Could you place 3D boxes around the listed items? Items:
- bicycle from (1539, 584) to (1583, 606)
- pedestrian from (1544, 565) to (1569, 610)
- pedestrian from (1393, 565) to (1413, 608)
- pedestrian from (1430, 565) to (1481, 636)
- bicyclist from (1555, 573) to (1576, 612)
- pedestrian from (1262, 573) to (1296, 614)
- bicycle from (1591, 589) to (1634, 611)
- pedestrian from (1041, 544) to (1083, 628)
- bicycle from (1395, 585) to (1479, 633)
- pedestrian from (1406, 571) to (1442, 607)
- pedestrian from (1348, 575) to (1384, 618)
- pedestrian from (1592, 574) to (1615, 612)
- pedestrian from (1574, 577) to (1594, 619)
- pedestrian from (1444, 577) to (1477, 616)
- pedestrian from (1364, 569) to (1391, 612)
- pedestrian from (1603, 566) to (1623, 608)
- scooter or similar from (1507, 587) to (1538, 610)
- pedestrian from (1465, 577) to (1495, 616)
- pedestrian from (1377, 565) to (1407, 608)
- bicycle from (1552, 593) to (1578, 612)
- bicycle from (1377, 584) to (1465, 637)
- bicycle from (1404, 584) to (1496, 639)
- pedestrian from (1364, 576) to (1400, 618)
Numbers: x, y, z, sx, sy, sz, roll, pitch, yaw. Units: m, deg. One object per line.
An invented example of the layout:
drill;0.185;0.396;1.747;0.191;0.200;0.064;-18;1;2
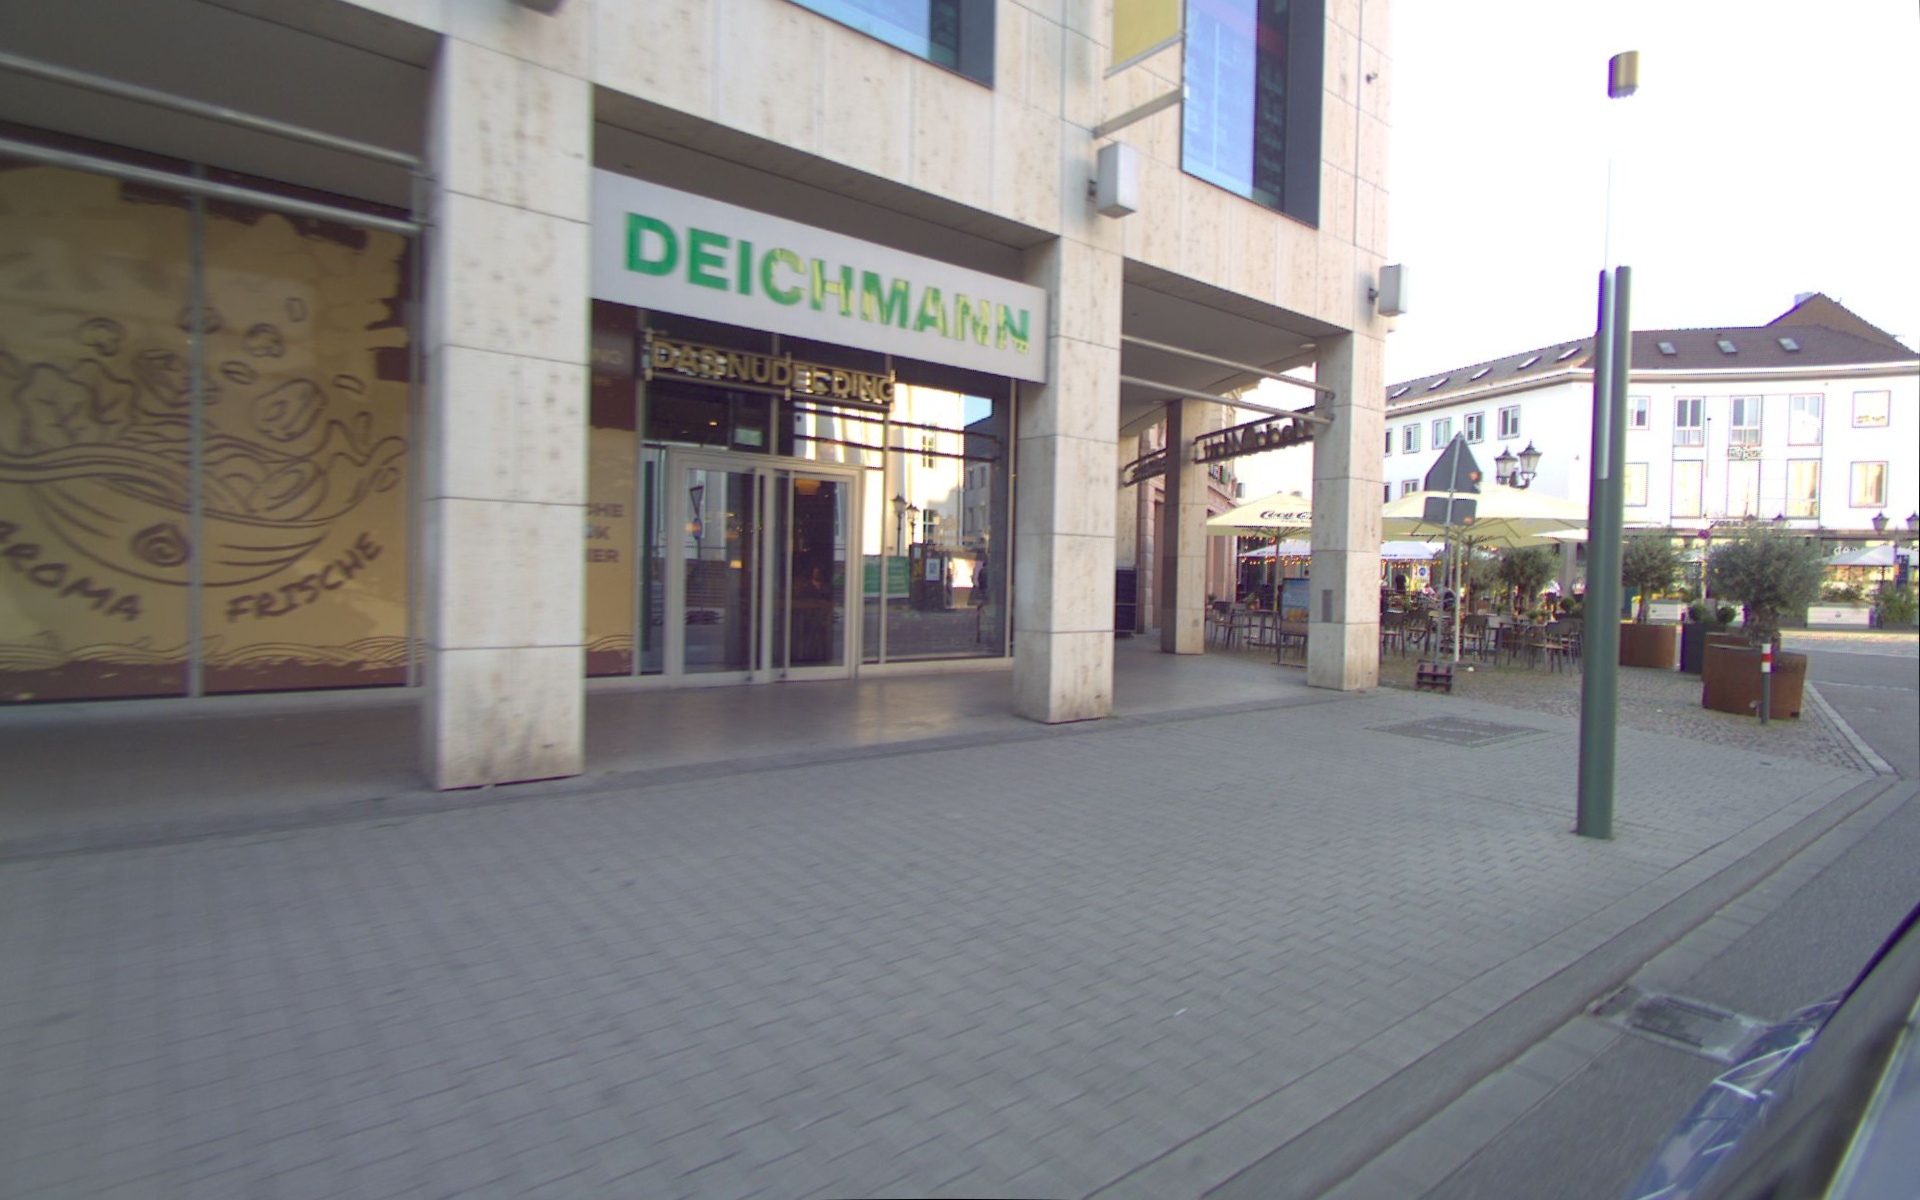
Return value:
bicycle;26.499;-0.210;44.594;1.644;0.945;0.474;1;1;-2
pedestrian;26.341;-0.563;44.709;0.615;1.952;0.647;1;1;-15
pedestrian;18.246;-0.566;41.682;0.710;1.769;0.703;1;1;28
pedestrian;11.562;0.004;23.624;0.699;1.608;0.751;1;1;-21
bicyclist;27.344;-0.350;45.695;0.819;1.765;0.482;0;1;-37
pedestrian;11.667;-0.251;37.005;0.835;1.465;0.776;1;1;-24
bicycle;29.130;-0.012;45.189;1.644;0.945;0.474;1;1;-2
pedestrian;2.181;-0.294;21.743;0.655;1.767;0.720;1;1;-16
bicycle;12.418;0.228;26.375;1.869;1.142;0.608;3;1;-3
pedestrian;19.176;-0.463;41.848;0.926;1.465;0.973;1;1;-24
pedestrian;13.980;-0.137;34.861;0.847;1.465;0.725;1;1;-15
pedestrian;29.322;-0.323;46.108;0.720;1.697;0.620;0;1;-38
pedestrian;28.945;-0.092;46.936;0.533;1.947;0.580;0;1;-37
pedestrian;19.117;-0.155;38.652;0.847;1.465;0.725;1;1;-15
pedestrian;18.037;-0.431;43.723;0.833;1.825;0.730;0;1;-32
pedestrian;29.127;-0.575;45.113;0.705;1.841;0.509;0;1;-38
scooter or similar;25.984;-0.063;46.739;1.180;1.024;0.488;1;1;-8
pedestrian;19.972;-0.146;38.870;0.679;1.465;0.725;1;1;-15
pedestrian;18.433;-0.577;43.171;0.963;1.825;0.729;0;1;-32
bicycle;27.333;0.113;45.726;1.456;0.858;0.482;0;1;-37
bicycle;10.873;0.243;23.861;1.866;1.142;0.609;3;1;-14
bicycle;11.042;0.258;22.815;1.866;1.142;0.609;3;1;-14
pedestrian;14.767;-0.115;35.431;0.847;1.465;0.725;1;1;-15
